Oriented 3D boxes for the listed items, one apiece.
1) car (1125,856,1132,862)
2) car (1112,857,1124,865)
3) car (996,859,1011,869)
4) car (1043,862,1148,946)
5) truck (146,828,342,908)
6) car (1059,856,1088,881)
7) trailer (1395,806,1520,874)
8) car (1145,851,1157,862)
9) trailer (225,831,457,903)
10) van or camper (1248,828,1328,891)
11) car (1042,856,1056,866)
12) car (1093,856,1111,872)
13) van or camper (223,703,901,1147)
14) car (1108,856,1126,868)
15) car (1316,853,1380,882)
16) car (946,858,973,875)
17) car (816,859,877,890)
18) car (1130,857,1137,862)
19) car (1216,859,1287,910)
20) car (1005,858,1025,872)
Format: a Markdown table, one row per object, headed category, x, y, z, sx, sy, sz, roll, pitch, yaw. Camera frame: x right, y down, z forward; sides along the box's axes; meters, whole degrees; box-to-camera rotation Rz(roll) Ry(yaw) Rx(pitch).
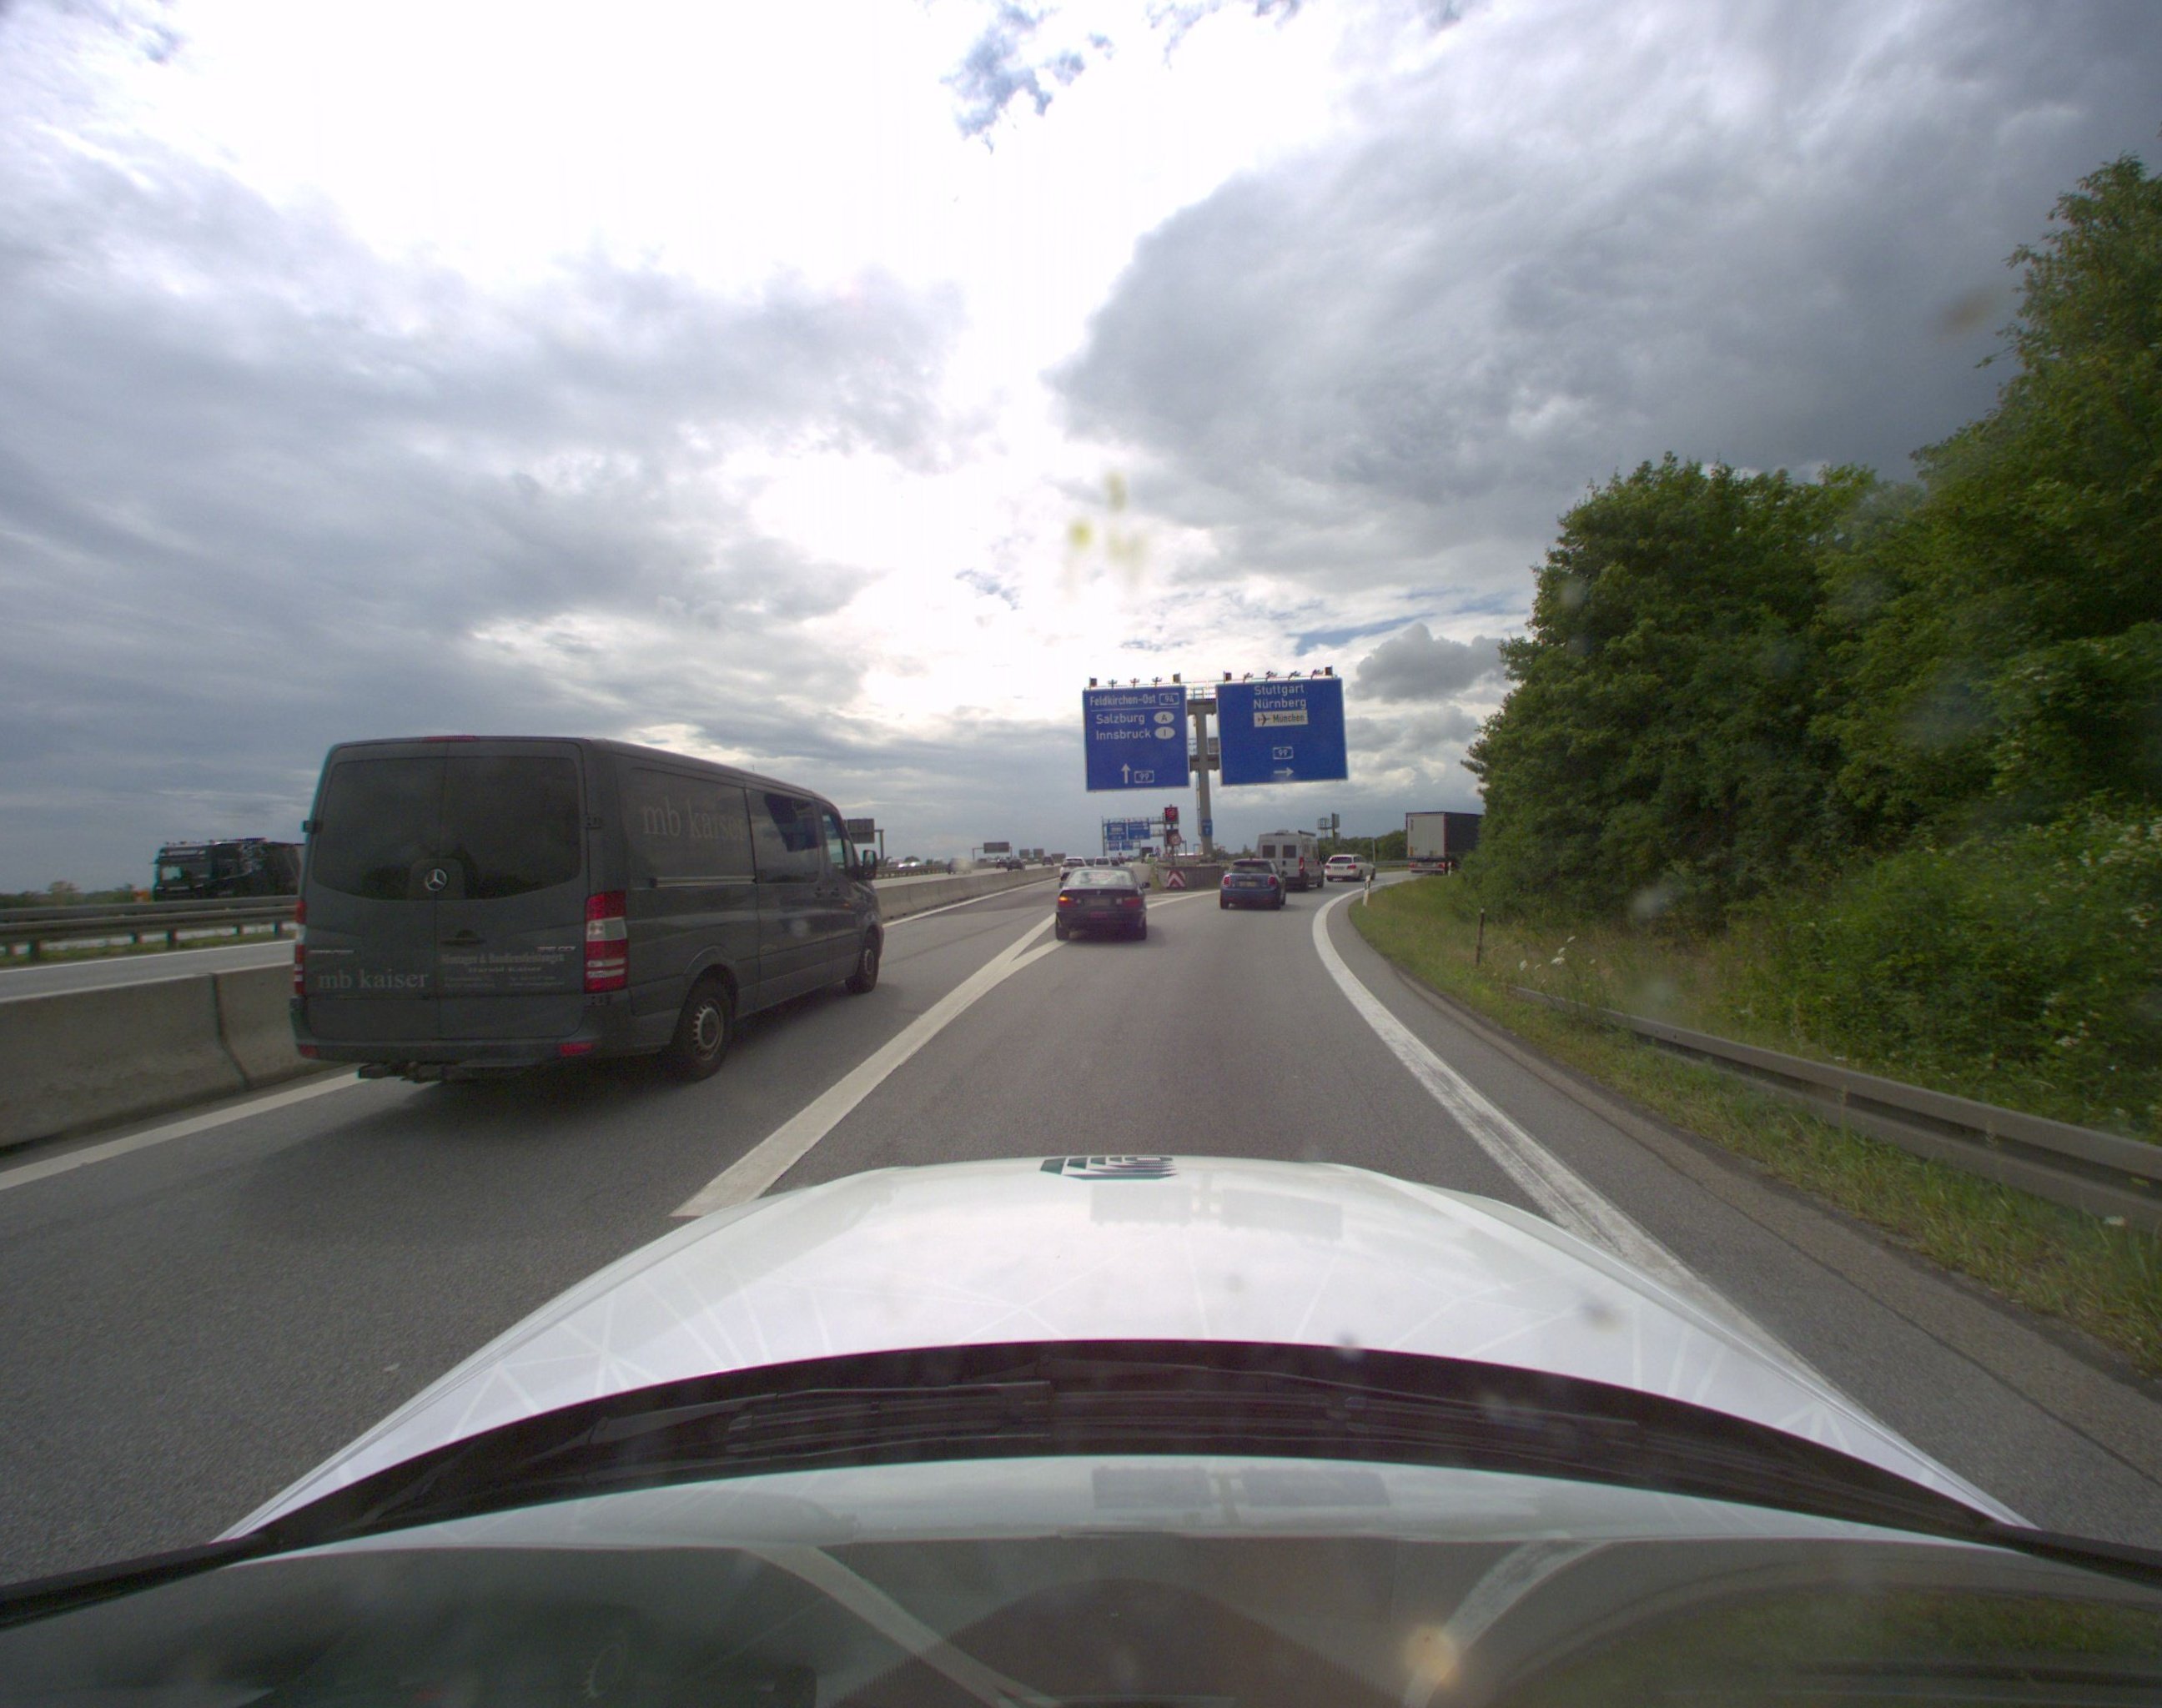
| category | x | y | z | sx | sy | sz | roll | pitch | yaw |
| --- | --- | --- | --- | --- | --- | --- | --- | --- | --- |
| car | 12.783 | 1.311 | 217.796 | 1.795 | 1.424 | 4.005 | -2 | 0 | 5 |
| car | 6.484 | 1.176 | 142.289 | 1.858 | 1.424 | 4.004 | -2 | 0 | 4 |
| car | -10.939 | 1.422 | 115.748 | 1.546 | 1.376 | 4.002 | -1 | 0 | 2 |
| car | 0.380 | 0.876 | 16.075 | 1.774 | 1.378 | 4.141 | -2 | 0 | 4 |
| truck | -38.117 | 0.616 | 37.415 | 3.141 | 3.330 | 5.620 | -1 | 0 | -1 |
| car | -0.442 | 0.913 | 53.347 | 1.694 | 1.508 | 3.842 | -1 | 0 | 2 |
| trailer | 26.208 | -0.910 | 56.148 | 13.107 | 4.193 | 3.300 | -1 | 0 | -44 |
| car | 13.137 | 0.475 | 152.356 | 1.986 | 2.013 | 4.001 | -1 | 0 | 2 |
| trailer | -38.184 | 0.618 | 42.796 | 3.187 | 3.269 | 9.821 | -1 | 0 | 0 |
| van or camper | 9.406 | 0.224 | 36.486 | 2.272 | 2.568 | 6.196 | -2 | 0 | 25 |
| car | -5.767 | 1.247 | 147.929 | 1.985 | 1.683 | 4.870 | -1 | 0 | 3 |
| car | 2.022 | 0.970 | 78.525 | 1.578 | 1.484 | 3.538 | -2 | 0 | 4 |
| van or camper | -3.520 | 0.399 | 7.486 | 1.991 | 2.370 | 6.131 | -1 | 0 | 3 |
| car | 4.625 | 1.046 | 103.265 | 1.983 | 1.468 | 4.007 | -2 | 0 | 6 |
| car | 15.072 | 0.741 | 45.746 | 2.184 | 1.501 | 4.818 | -2 | -1 | 34 |
| car | -12.109 | 1.198 | 81.294 | 1.893 | 1.638 | 4.236 | -1 | 0 | 3 |
| car | -13.309 | 1.123 | 46.442 | 1.893 | 1.640 | 4.648 | -1 | 0 | 3 |
| car | 15.333 | 1.514 | 236.718 | 1.795 | 1.424 | 4.005 | -2 | 0 | 5 |
| car | 5.194 | 0.858 | 24.500 | 1.715 | 1.419 | 3.682 | -1 | -1 | 17 |
| car | -7.539 | 1.201 | 93.260 | 1.767 | 1.530 | 4.003 | -2 | 0 | 3 |
